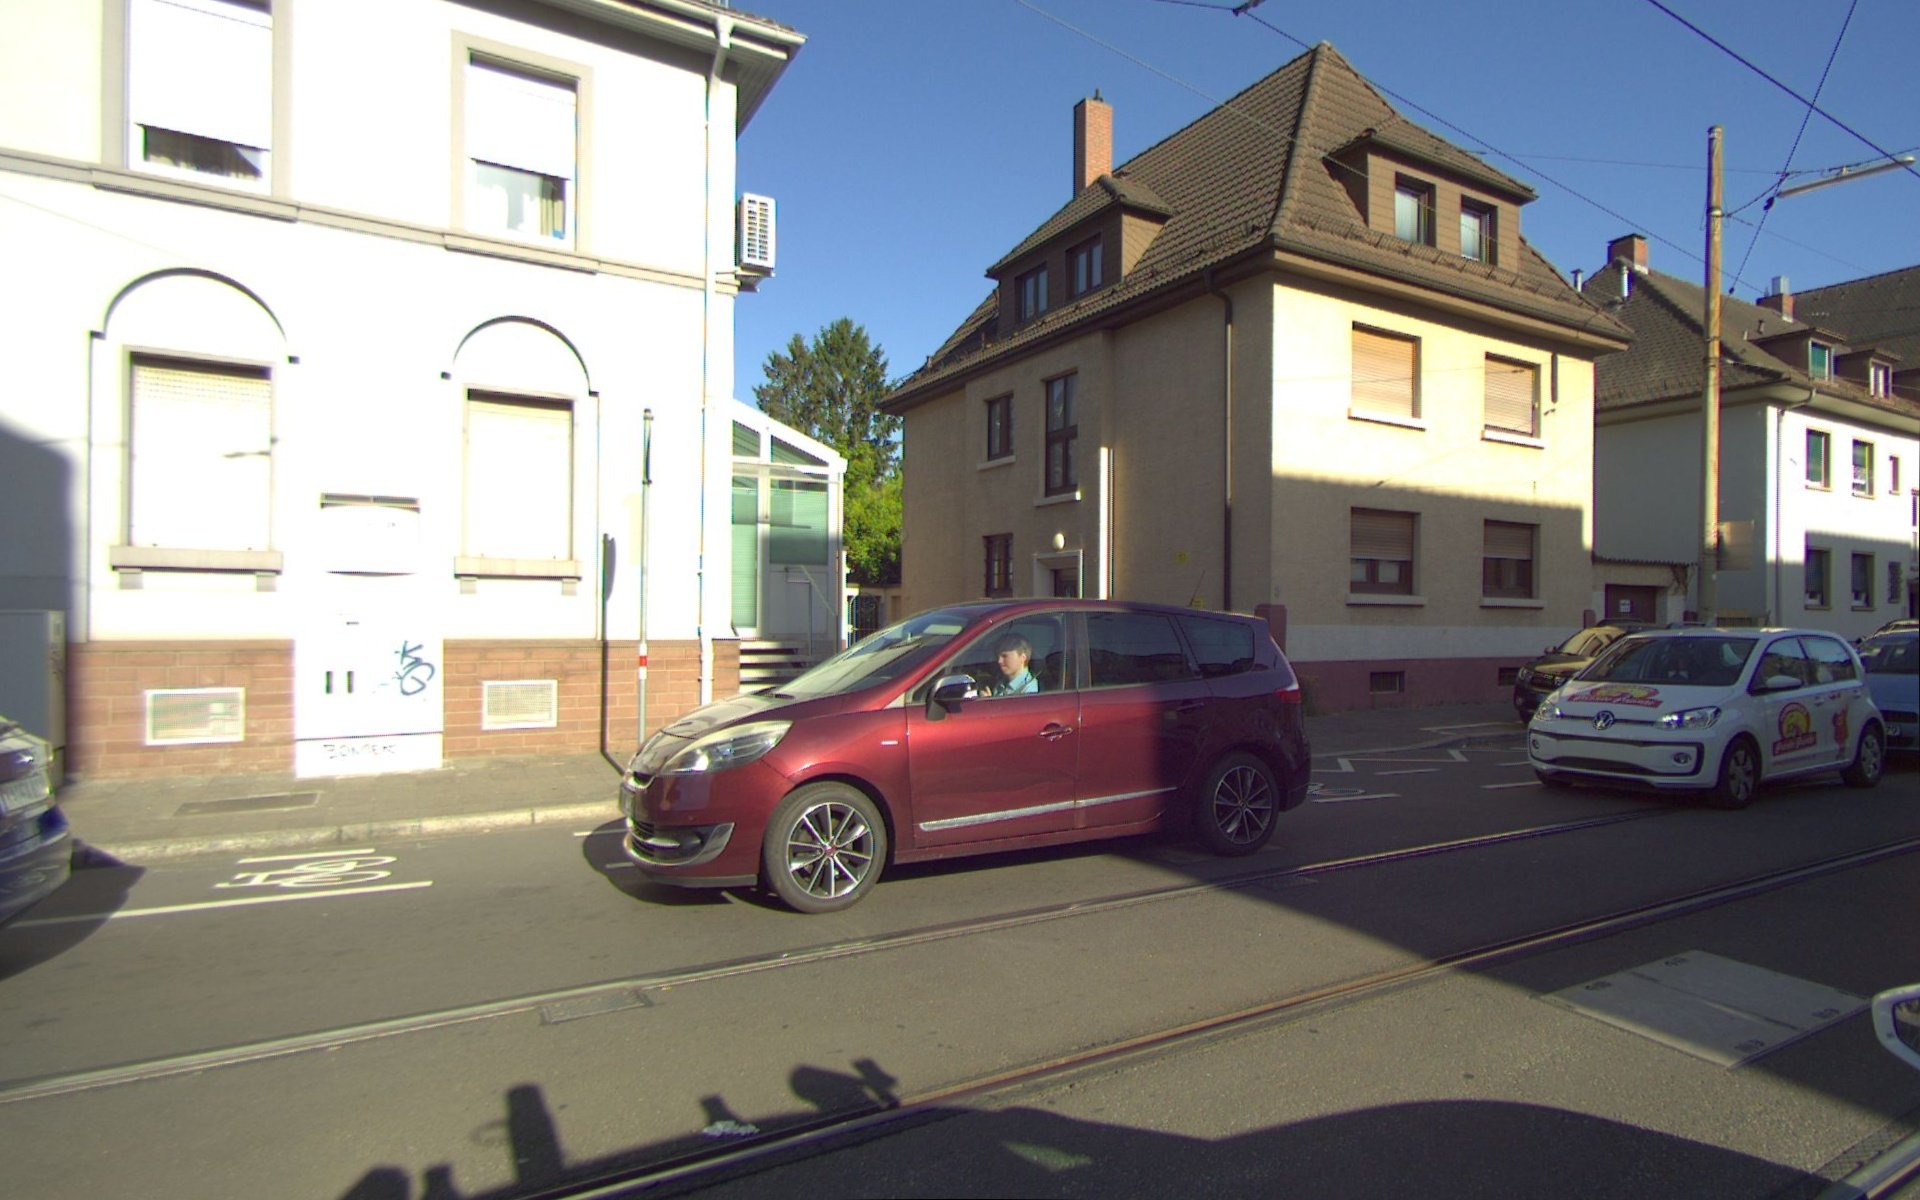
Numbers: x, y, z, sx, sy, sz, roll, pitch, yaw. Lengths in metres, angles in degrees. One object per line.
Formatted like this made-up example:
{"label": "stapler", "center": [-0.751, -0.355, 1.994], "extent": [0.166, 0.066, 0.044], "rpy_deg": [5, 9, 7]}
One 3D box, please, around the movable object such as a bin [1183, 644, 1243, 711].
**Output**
{"label": "movable object such as a bin", "center": [3.946, 1.196, 15.688], "extent": [0.575, 0.957, 0.654], "rpy_deg": [1, 2, -30]}

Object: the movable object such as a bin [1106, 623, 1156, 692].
{"label": "movable object such as a bin", "center": [2.966, 0.988, 17.418], "extent": [0.583, 1.126, 0.566], "rpy_deg": [1, 2, -30]}

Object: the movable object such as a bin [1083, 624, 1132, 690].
{"label": "movable object such as a bin", "center": [2.640, 1.007, 17.999], "extent": [0.583, 1.126, 0.612], "rpy_deg": [1, 2, -30]}

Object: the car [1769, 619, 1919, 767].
{"label": "car", "center": [11.192, 0.988, 11.534], "extent": [4.026, 1.480, 1.610], "rpy_deg": [1, -2, -30]}

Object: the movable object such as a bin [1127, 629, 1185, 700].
{"label": "movable object such as a bin", "center": [3.285, 1.064, 16.858], "extent": [0.664, 1.126, 0.639], "rpy_deg": [1, 2, -30]}

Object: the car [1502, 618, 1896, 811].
{"label": "car", "center": [6.850, 0.933, 9.268], "extent": [3.569, 1.480, 1.576], "rpy_deg": [1, -2, -29]}

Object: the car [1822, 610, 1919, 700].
{"label": "car", "center": [20.053, 1.116, 20.996], "extent": [4.503, 1.727, 1.753], "rpy_deg": [1, -2, -31]}

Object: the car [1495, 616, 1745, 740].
{"label": "car", "center": [9.949, 1.098, 15.081], "extent": [3.876, 1.649, 1.608], "rpy_deg": [1, -2, -31]}

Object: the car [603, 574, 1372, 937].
{"label": "car", "center": [0.298, 0.764, 6.396], "extent": [4.655, 1.632, 1.732], "rpy_deg": [1, -2, -28]}

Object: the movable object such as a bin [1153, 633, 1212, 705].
{"label": "movable object such as a bin", "center": [3.594, 1.102, 16.262], "extent": [0.664, 1.094, 0.612], "rpy_deg": [1, 2, -30]}

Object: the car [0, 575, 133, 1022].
{"label": "car", "center": [-5.455, 0.716, 3.323], "extent": [3.879, 1.588, 1.678], "rpy_deg": [1, -3, -28]}
